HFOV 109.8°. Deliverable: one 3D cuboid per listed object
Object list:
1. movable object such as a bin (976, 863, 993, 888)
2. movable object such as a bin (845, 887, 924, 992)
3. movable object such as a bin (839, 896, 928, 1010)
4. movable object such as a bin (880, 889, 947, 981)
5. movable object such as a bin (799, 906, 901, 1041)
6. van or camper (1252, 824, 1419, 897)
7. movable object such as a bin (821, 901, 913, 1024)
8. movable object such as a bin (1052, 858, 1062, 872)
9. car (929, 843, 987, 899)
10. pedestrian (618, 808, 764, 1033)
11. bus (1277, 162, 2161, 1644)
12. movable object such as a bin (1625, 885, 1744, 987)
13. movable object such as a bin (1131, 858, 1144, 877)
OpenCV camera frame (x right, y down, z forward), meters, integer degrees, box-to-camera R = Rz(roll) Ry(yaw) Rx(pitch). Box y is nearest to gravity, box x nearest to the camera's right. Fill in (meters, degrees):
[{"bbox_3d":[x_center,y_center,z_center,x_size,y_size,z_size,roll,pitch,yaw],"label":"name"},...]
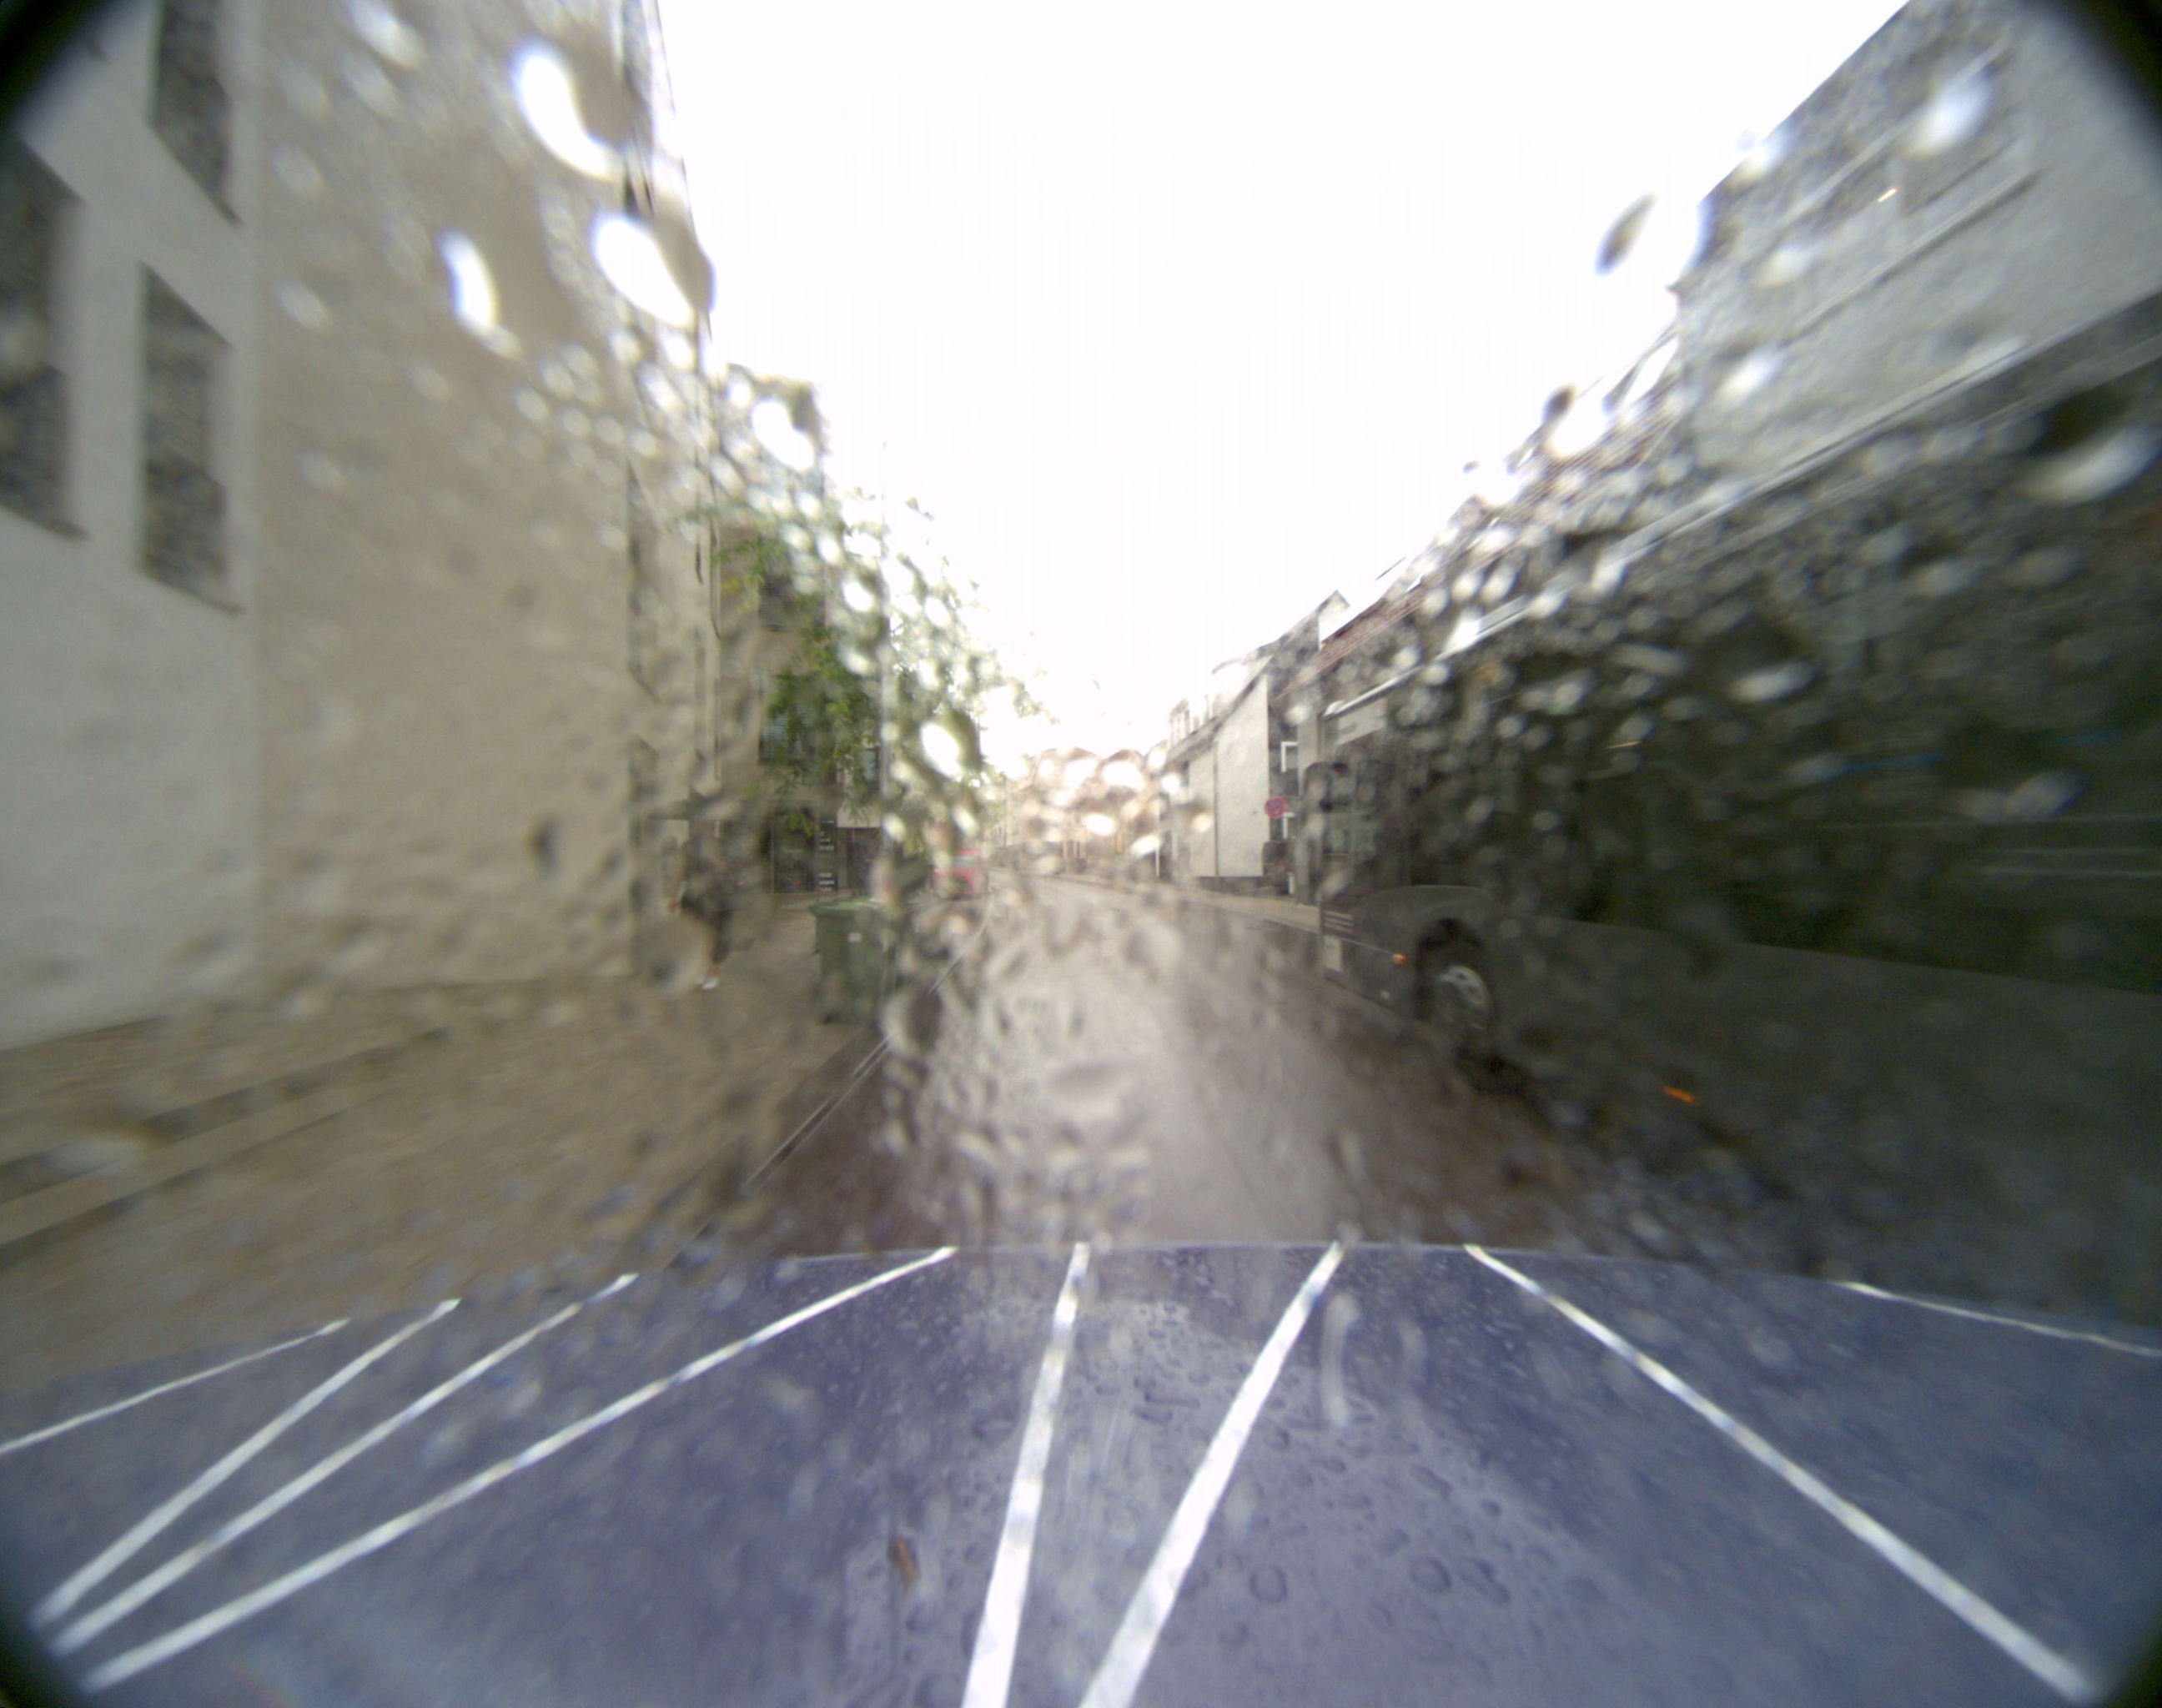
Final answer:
[{"bbox_3d":[-4.216,0.931,33.251,0.711,1.081,0.601,0,1,-7],"label":"movable object such as a bin"},{"bbox_3d":[-2.310,0.989,8.972,0.753,1.164,0.630,0,1,2],"label":"movable object such as a bin"},{"bbox_3d":[-2.072,1.026,8.058,0.763,1.111,0.624,-1,1,-1],"label":"movable object such as a bin"},{"bbox_3d":[-2.254,1.080,10.307,0.753,1.164,0.630,0,1,2],"label":"movable object such as a bin"},{"bbox_3d":[-2.058,1.048,6.832,0.725,1.111,0.576,-1,1,-1],"label":"movable object such as a bin"},{"bbox_3d":[8.800,0.186,26.519,5.039,1.922,1.999,-6,2,-6],"label":"van or camper"},{"bbox_3d":[-2.079,1.038,7.444,0.725,1.111,0.576,-1,1,-1],"label":"movable object such as a bin"},{"bbox_3d":[-1.906,0.859,60.491,0.715,1.053,0.575,-1,2,-11],"label":"movable object such as a bin"},{"bbox_3d":[-4.546,0.563,28.612,1.841,1.896,4.601,1,1,-5],"label":"car"},{"bbox_3d":[-3.742,0.590,7.405,0.870,2.002,1.082,-1,1,-6],"label":"pedestrian"},{"bbox_3d":[3.574,0.092,2.515,2.731,3.062,10.944,-1,0,-1],"label":"bus"},{"bbox_3d":[6.866,0.909,8.676,0.795,1.053,0.701,-2,1,-6],"label":"movable object such as a bin"},{"bbox_3d":[3.521,0.847,47.397,0.659,1.102,0.720,2,1,-4],"label":"movable object such as a bin"}]
